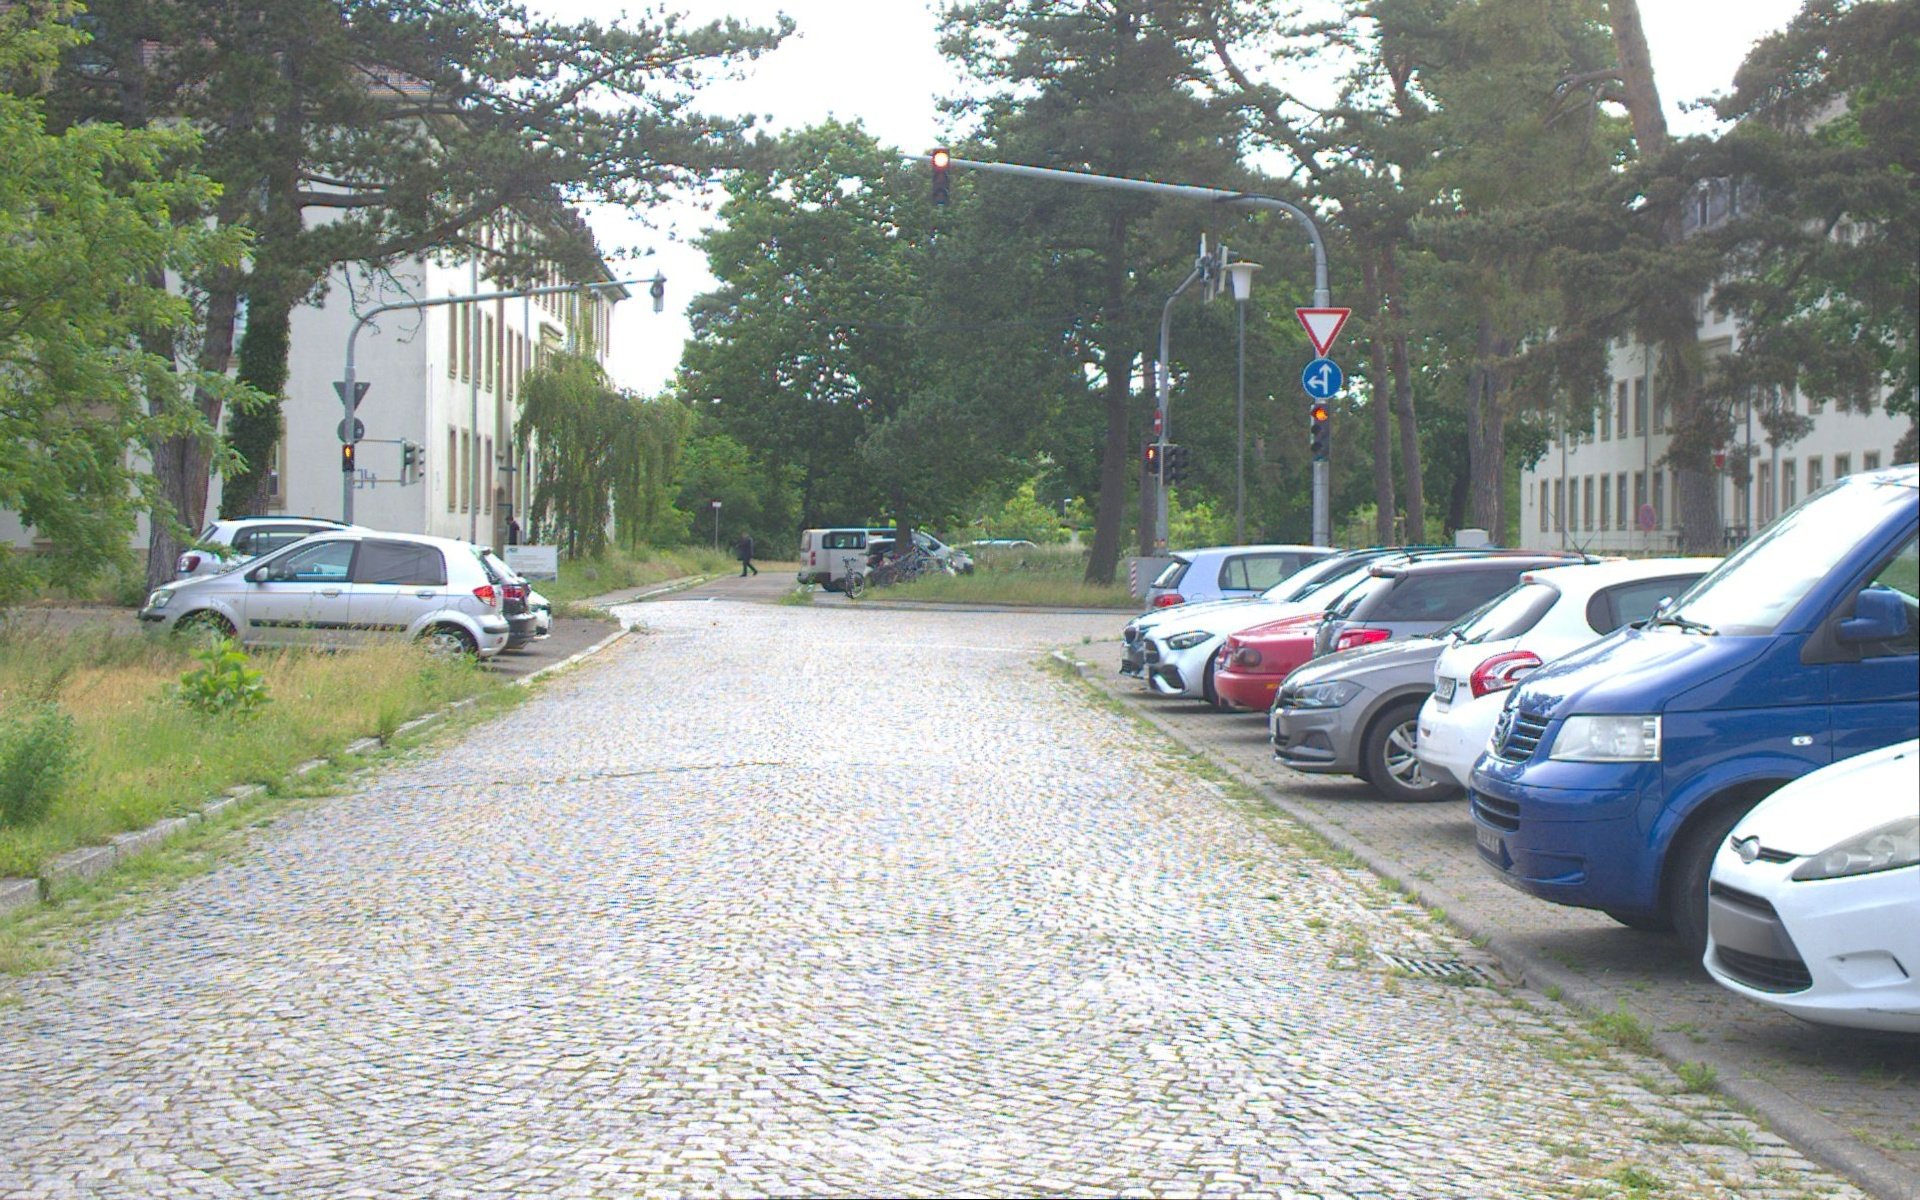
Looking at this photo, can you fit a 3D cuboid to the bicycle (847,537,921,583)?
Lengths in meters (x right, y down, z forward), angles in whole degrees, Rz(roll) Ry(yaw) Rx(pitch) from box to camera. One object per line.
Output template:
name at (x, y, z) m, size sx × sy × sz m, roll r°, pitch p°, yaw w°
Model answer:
bicycle at (-2.052, -1.071, 92.639) m, size 1.881 × 1.167 × 0.665 m, roll 2°, pitch 1°, yaw -7°

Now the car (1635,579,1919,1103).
car at (4.387, 0.678, 10.898) m, size 4.097 × 1.473 × 1.722 m, roll 0°, pitch 1°, yaw -5°

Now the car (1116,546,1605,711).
car at (3.670, 0.237, 31.840) m, size 4.184 × 1.432 × 1.756 m, roll 0°, pitch 1°, yaw -9°

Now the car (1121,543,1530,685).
car at (3.916, 0.132, 37.168) m, size 4.134 × 1.458 × 1.634 m, roll 0°, pitch 1°, yaw -7°

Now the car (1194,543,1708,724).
car at (4.160, 0.262, 29.490) m, size 4.104 × 1.471 × 1.685 m, roll 0°, pitch 1°, yaw -3°

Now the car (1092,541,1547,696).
car at (3.596, 0.157, 34.605) m, size 4.227 × 1.474 × 1.710 m, roll -1°, pitch 1°, yaw -12°

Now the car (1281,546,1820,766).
car at (4.149, 0.368, 24.520) m, size 3.505 × 1.482 × 1.743 m, roll 0°, pitch 1°, yaw -2°

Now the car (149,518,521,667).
car at (-7.457, -0.117, 41.340) m, size 4.297 × 1.726 × 1.653 m, roll 0°, pitch 1°, yaw -7°

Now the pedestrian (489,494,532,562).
pedestrian at (-13.254, -2.117, 101.343) m, size 1.074 × 1.952 × 1.121 m, roll 2°, pitch 1°, yaw -2°

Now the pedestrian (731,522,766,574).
pedestrian at (-8.242, -2.027, 133.703) m, size 1.239 × 1.952 × 1.121 m, roll 2°, pitch 1°, yaw -7°

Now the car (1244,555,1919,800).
car at (3.943, 0.455, 21.647) m, size 4.130 × 1.442 × 1.766 m, roll 0°, pitch 1°, yaw -1°

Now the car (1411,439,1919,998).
car at (4.326, 0.390, 13.437) m, size 4.795 × 1.997 × 1.967 m, roll 0°, pitch 1°, yaw -3°

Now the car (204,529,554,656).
car at (-7.351, -0.120, 43.799) m, size 4.297 × 1.548 × 1.812 m, roll 0°, pitch 1°, yaw -7°

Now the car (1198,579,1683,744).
car at (3.736, 0.465, 27.139) m, size 3.586 × 1.218 × 1.628 m, roll 0°, pitch 1°, yaw 0°

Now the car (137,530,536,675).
car at (-6.930, 0.003, 38.549) m, size 4.297 × 1.548 × 1.812 m, roll 0°, pitch 1°, yaw -7°

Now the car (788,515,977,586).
car at (-2.356, -1.491, 103.939) m, size 5.374 × 2.094 × 2.179 m, roll 0°, pitch 1°, yaw -14°

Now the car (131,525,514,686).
car at (-6.617, 0.040, 35.960) m, size 3.720 × 1.475 × 1.673 m, roll 3°, pitch 1°, yaw -4°

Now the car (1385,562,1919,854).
car at (4.278, 0.547, 18.751) m, size 3.653 × 1.473 × 1.766 m, roll 0°, pitch 1°, yaw -2°

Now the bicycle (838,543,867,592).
bicycle at (-2.637, -0.817, 84.492) m, size 0.663 × 1.167 × 1.888 m, roll 2°, pitch 1°, yaw -2°
